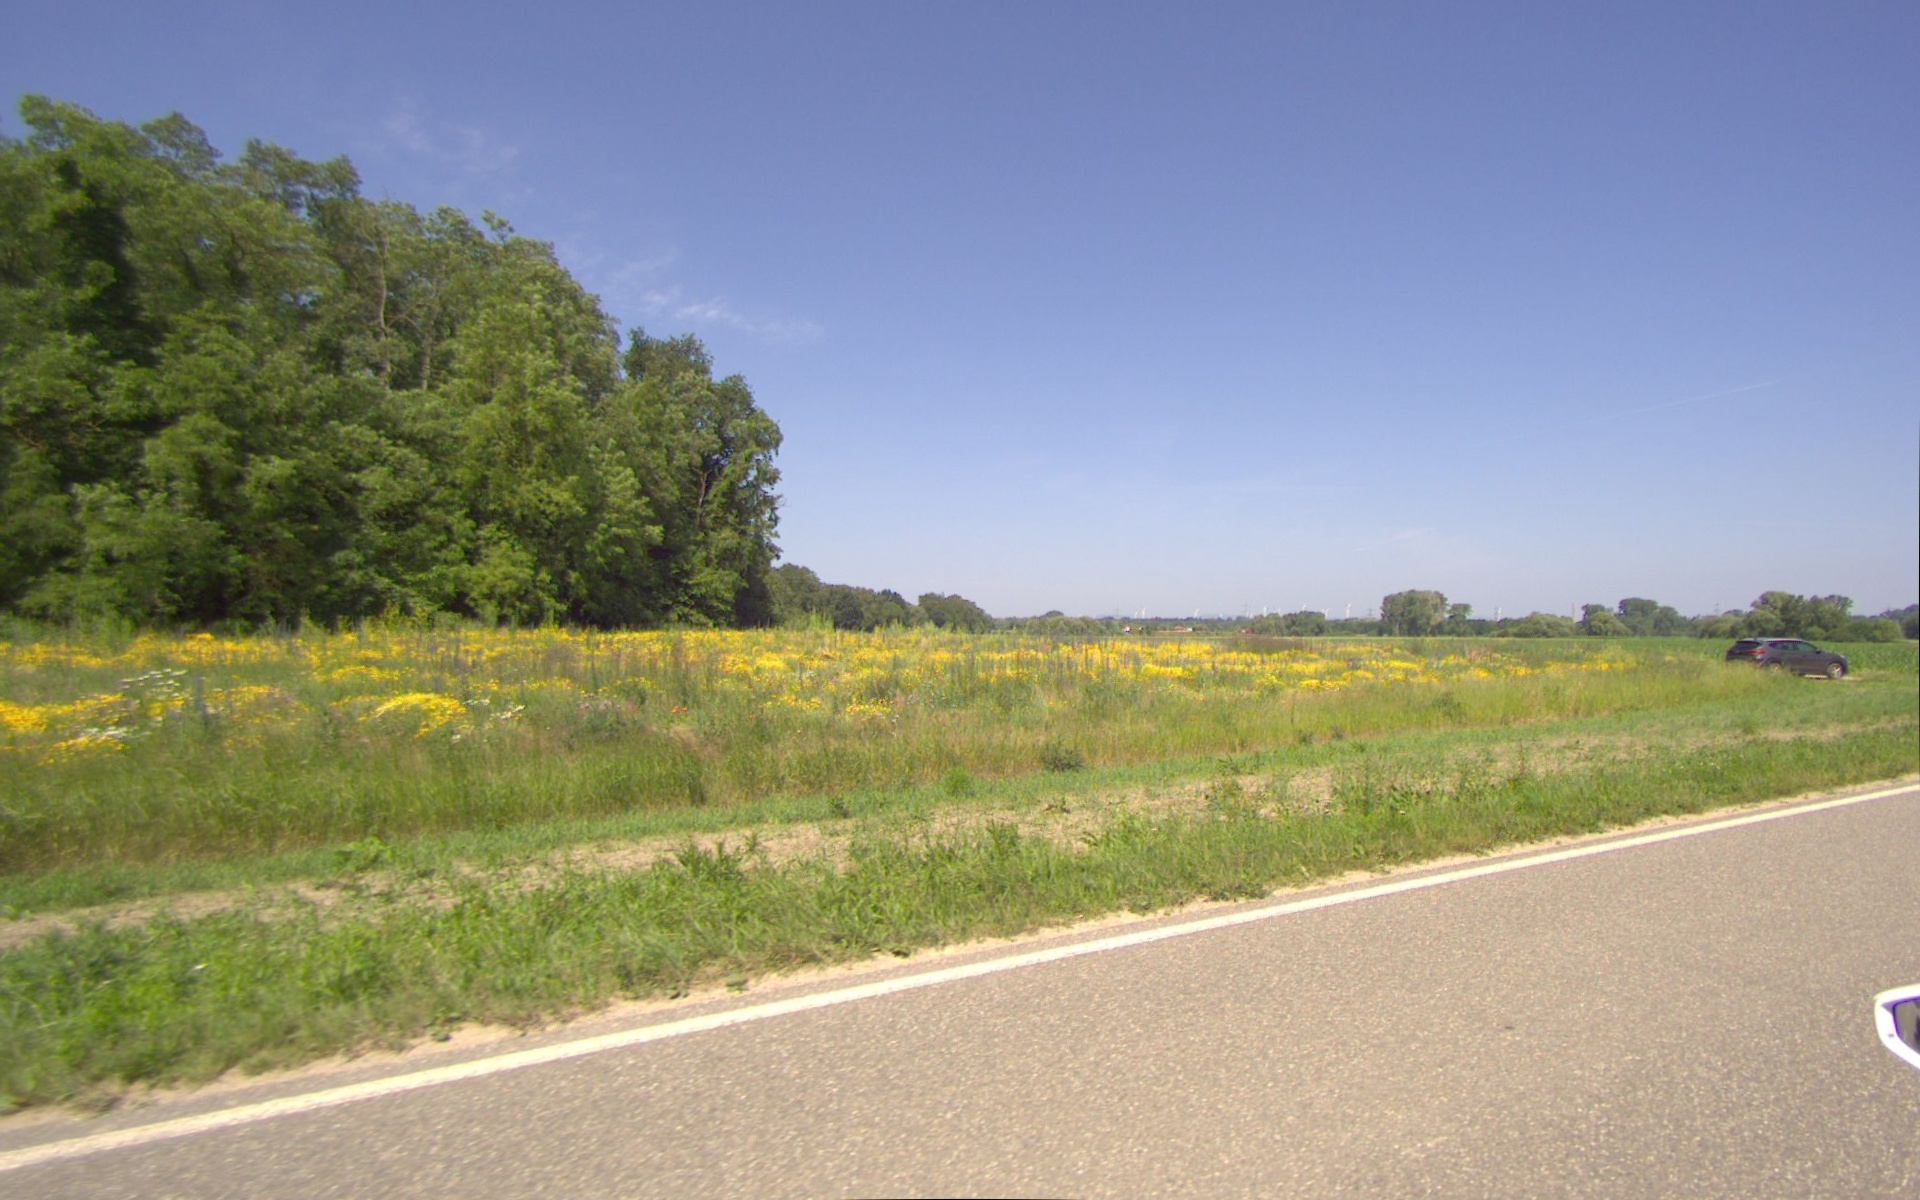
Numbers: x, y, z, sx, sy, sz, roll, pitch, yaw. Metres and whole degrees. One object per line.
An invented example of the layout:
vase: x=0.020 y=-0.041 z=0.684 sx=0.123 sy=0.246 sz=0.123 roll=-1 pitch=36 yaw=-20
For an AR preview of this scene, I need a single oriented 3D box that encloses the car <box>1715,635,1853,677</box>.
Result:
car: x=34.229 y=2.305 z=41.765 sx=4.442 sy=1.673 sz=1.758 roll=0 pitch=-2 yaw=-4
